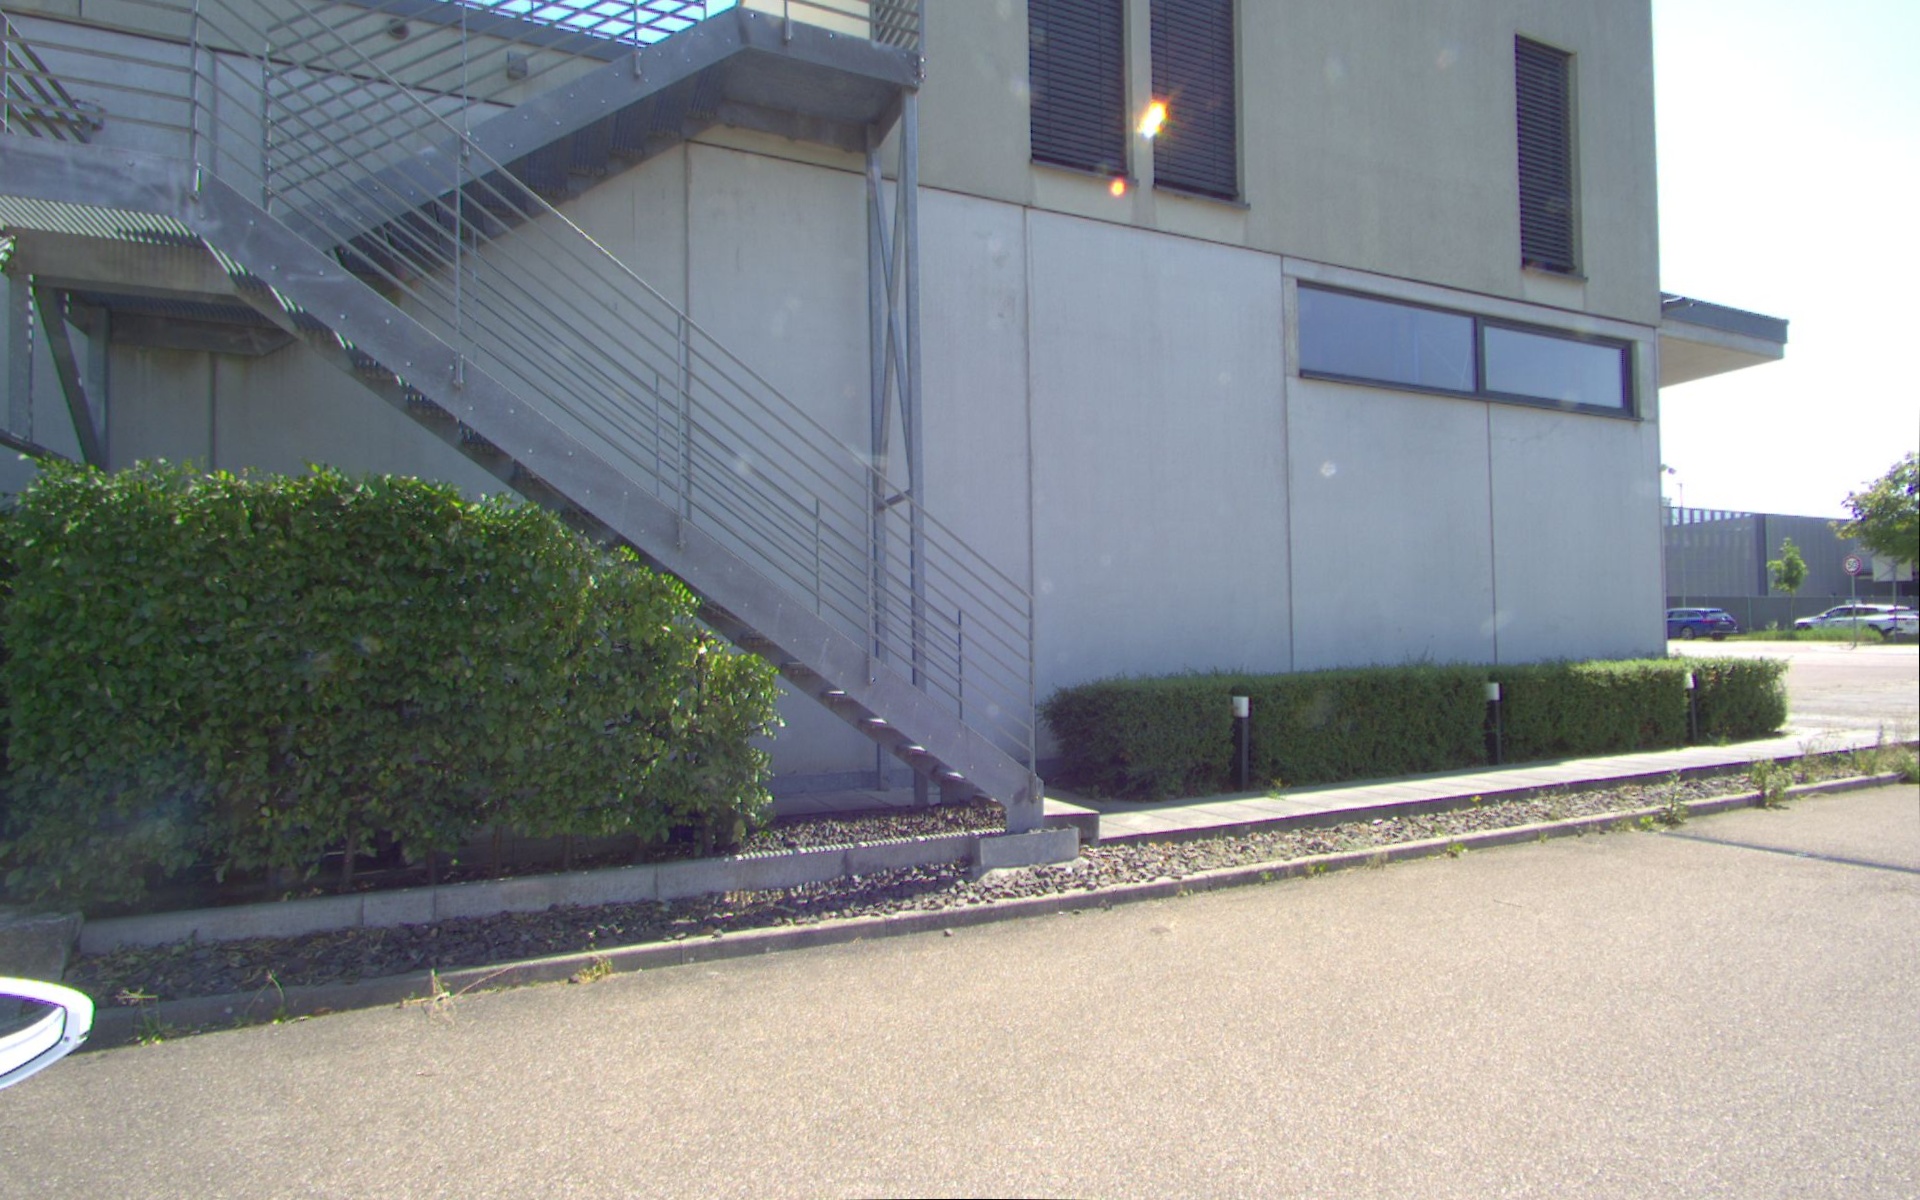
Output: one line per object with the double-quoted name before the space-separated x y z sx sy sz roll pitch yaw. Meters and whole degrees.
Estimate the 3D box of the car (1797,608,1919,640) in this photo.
"car" 42.293 1.144 47.064 1.717 1.433 4.446 1 -2 -11

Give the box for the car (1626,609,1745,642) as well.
"car" 32.811 1.187 45.463 1.717 1.433 4.447 1 -2 -10

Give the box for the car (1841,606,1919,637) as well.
"car" 44.817 1.039 47.717 1.717 1.433 4.064 1 -2 -11
